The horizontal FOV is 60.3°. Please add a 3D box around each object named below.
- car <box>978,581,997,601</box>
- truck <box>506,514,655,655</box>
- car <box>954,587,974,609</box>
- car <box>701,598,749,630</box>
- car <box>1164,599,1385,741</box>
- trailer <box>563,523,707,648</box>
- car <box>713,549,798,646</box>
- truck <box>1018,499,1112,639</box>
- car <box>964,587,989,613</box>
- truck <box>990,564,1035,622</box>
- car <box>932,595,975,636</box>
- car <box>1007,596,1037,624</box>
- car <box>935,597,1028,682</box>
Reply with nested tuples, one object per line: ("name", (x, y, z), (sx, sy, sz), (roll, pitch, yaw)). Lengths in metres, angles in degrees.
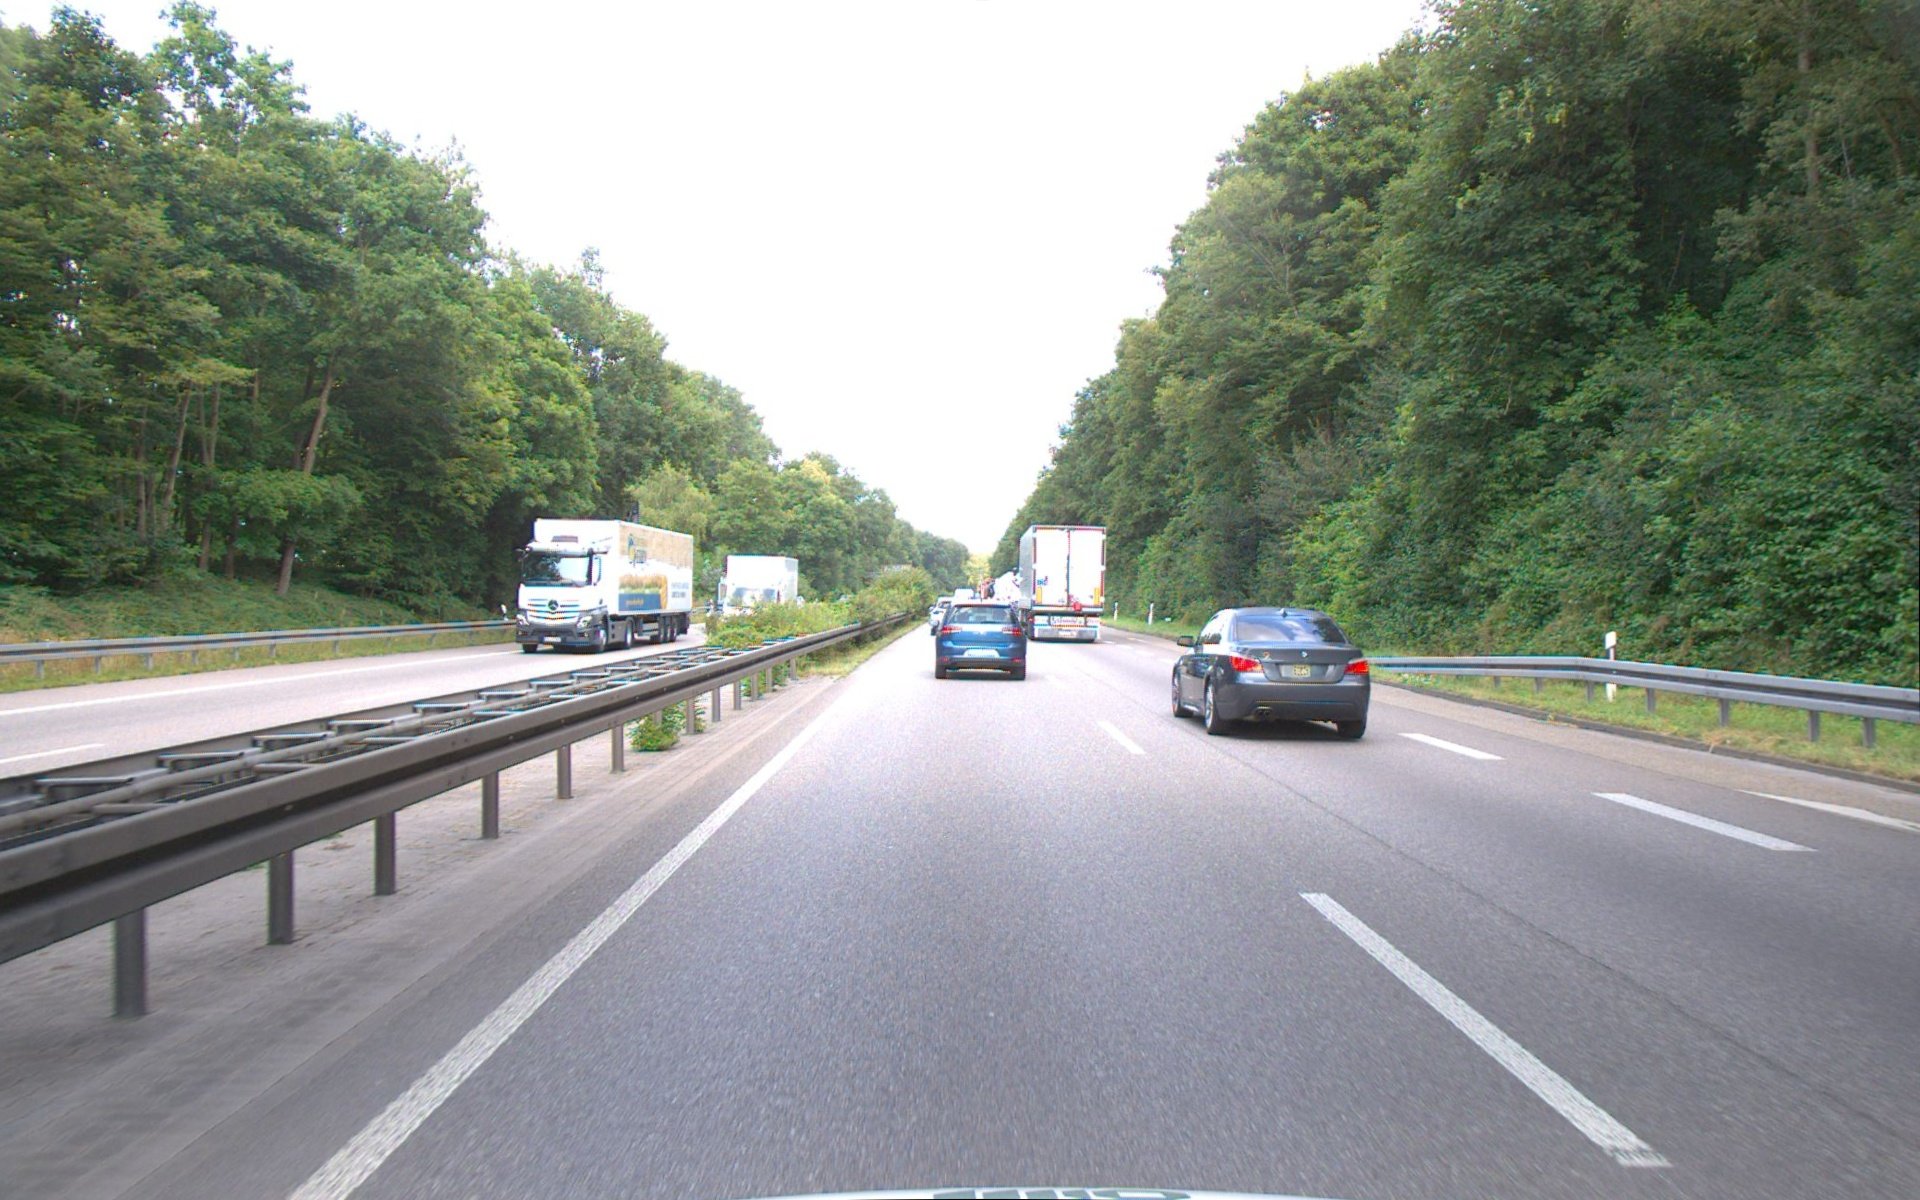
("car", (3.283, -1.047, 197.302), (1.953, 2.368, 4.440), (0, 0, -2))
("truck", (-11.675, -0.463, 51.534), (2.977, 4.056, 6.748), (1, 0, 0))
("car", (0.377, -0.252, 177.023), (1.953, 2.294, 4.440), (0, 0, -2))
("car", (-11.529, 0.678, 81.400), (1.699, 1.499, 4.470), (0, 0, 0))
("car", (3.707, 0.760, 20.359), (1.738, 1.501, 4.879), (1, 0, -1))
("trailer", (-11.548, -0.437, 59.848), (2.996, 4.113, 9.974), (1, -1, 1))
("car", (-7.319, -0.108, 59.932), (2.241, 3.289, 7.285), (0, 0, -1))
("truck", (3.835, -1.084, 62.243), (3.174, 4.798, 11.010), (0, 0, 2))
("car", (1.334, 0.005, 134.085), (1.914, 2.049, 3.999), (0, 0, -1))
("truck", (4.189, -0.487, 134.031), (3.166, 4.463, 12.969), (1, -1, 0))
("car", (-0.234, 0.591, 65.714), (1.631, 1.526, 4.152), (1, 0, 0))
("car", (4.028, 0.648, 107.514), (1.850, 1.759, 4.000), (0, 0, 0))
("car", (0.380, 0.715, 32.067), (1.670, 1.495, 4.000), (1, 0, 0))
